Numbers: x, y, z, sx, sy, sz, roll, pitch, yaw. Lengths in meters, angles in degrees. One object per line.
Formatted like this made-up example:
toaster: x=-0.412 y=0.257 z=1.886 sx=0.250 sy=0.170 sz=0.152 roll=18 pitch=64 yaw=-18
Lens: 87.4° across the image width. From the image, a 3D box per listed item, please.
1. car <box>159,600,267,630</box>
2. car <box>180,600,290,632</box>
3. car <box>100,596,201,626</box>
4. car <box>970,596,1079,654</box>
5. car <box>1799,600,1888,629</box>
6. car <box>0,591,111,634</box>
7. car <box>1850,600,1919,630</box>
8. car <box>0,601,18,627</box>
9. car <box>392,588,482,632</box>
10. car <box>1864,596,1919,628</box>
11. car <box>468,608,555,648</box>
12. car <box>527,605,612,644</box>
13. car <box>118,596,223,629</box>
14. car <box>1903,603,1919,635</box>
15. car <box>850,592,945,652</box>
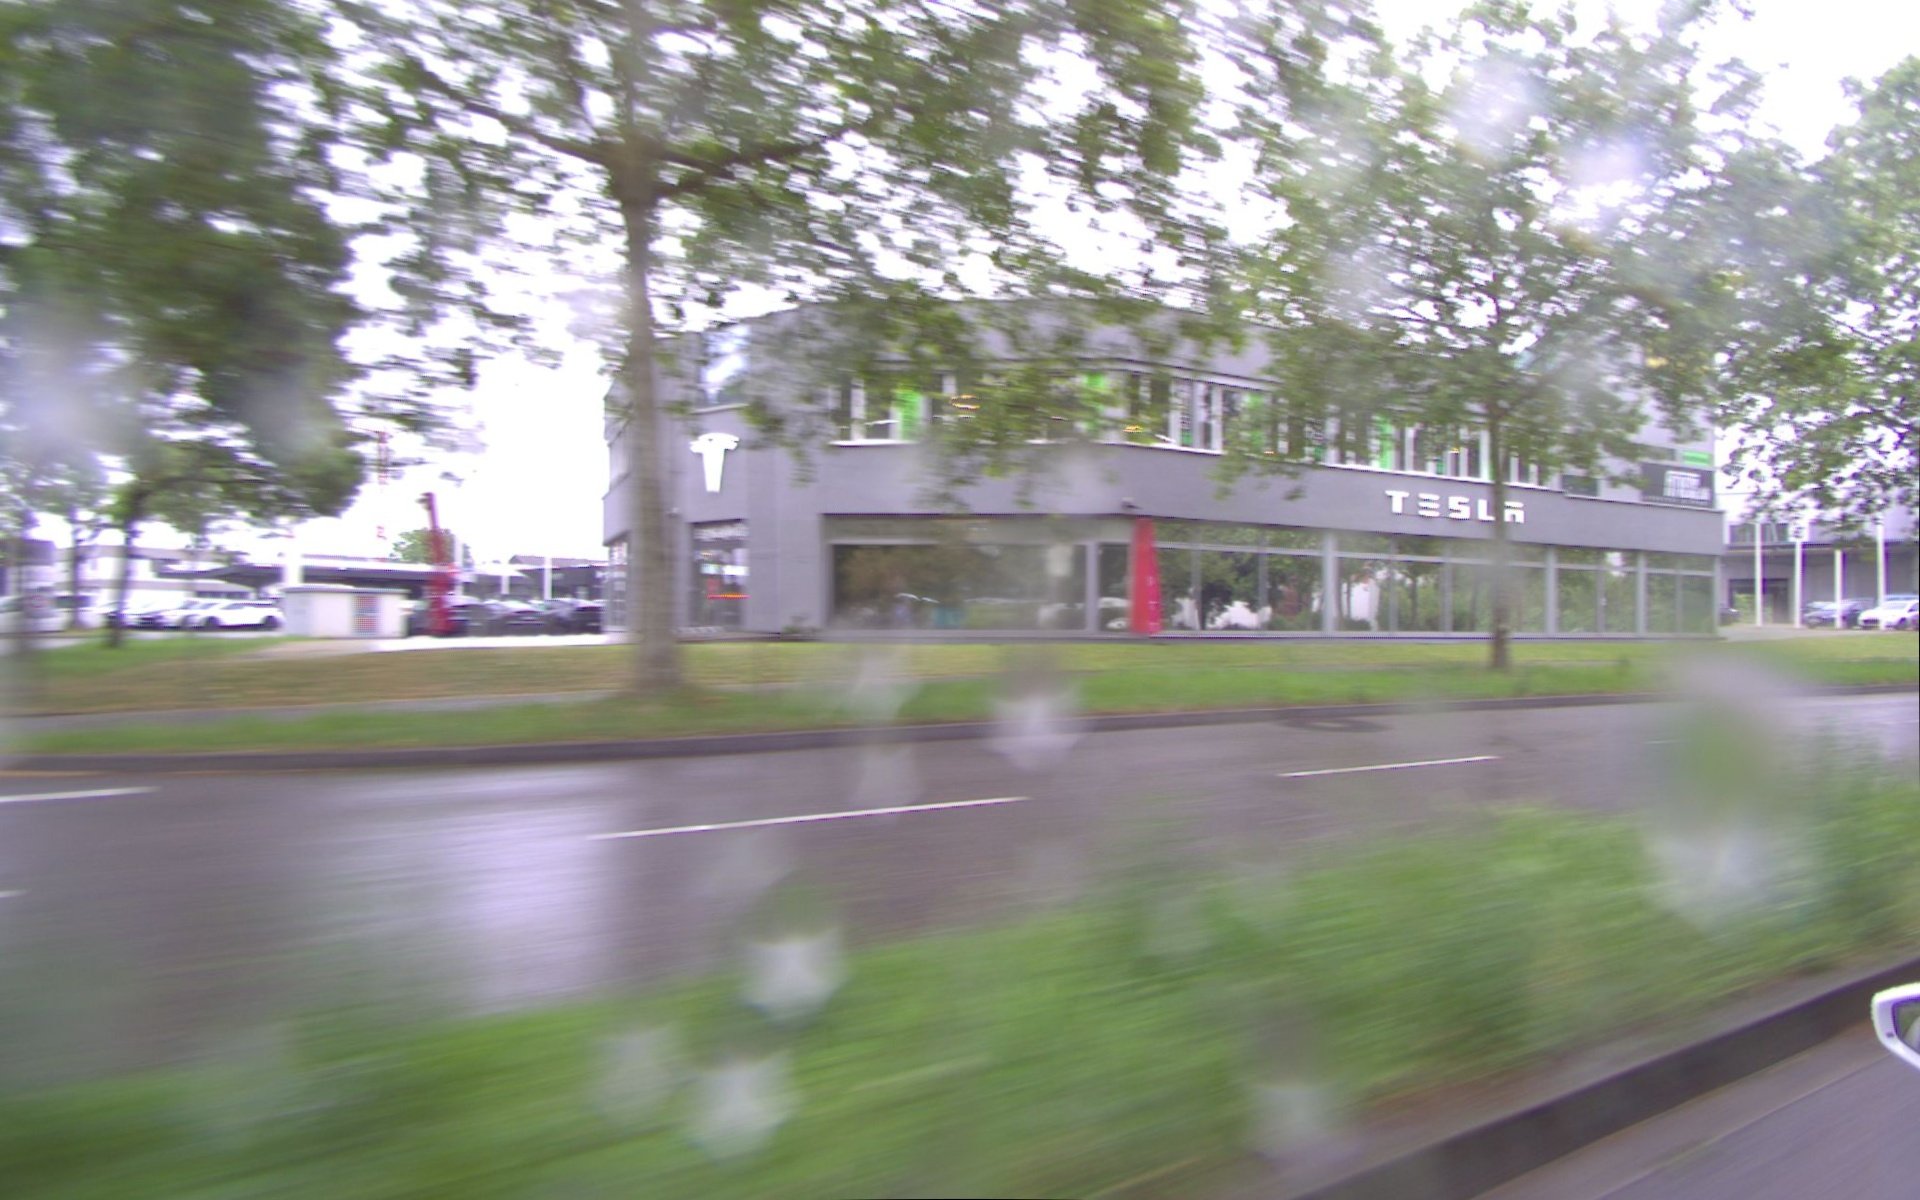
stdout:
car: x=-38.499 y=0.782 z=51.840 sx=1.571 sy=1.514 sz=4.192 roll=0 pitch=-1 yaw=34
car: x=-36.390 y=0.827 z=50.526 sx=1.571 sy=1.514 sz=4.192 roll=0 pitch=-1 yaw=34
car: x=-46.231 y=0.658 z=57.446 sx=1.571 sy=1.678 sz=4.192 roll=0 pitch=-1 yaw=34
car: x=1.724 y=0.677 z=28.171 sx=1.573 sy=1.514 sz=4.187 roll=1 pitch=-1 yaw=-19
car: x=46.686 y=0.744 z=53.078 sx=4.092 sy=1.415 sz=1.761 roll=-1 pitch=1 yaw=-19
car: x=-42.076 y=0.570 z=45.502 sx=1.764 sy=1.889 sz=5.214 roll=0 pitch=-1 yaw=35
car: x=47.402 y=0.729 z=50.833 sx=4.092 sy=1.415 sz=1.761 roll=-1 pitch=1 yaw=-19
car: x=-52.438 y=0.735 z=52.707 sx=1.572 sy=1.376 sz=4.190 roll=0 pitch=-1 yaw=36
car: x=-19.342 y=0.361 z=37.070 sx=4.144 sy=1.514 sz=1.590 roll=0 pitch=-1 yaw=42
car: x=54.773 y=0.706 z=57.175 sx=4.567 sy=1.788 sz=1.818 roll=1 pitch=1 yaw=27
car: x=-17.907 y=1.085 z=40.030 sx=4.144 sy=1.514 sz=1.590 roll=0 pitch=-1 yaw=42
car: x=-16.370 y=1.009 z=42.023 sx=4.144 sy=1.514 sz=1.590 roll=0 pitch=-1 yaw=42
car: x=-42.627 y=0.682 z=54.335 sx=1.571 sy=1.678 sz=4.192 roll=0 pitch=-1 yaw=34
car: x=47.395 y=0.865 z=47.969 sx=4.092 sy=1.487 sz=1.761 roll=-1 pitch=1 yaw=-19
car: x=-1.811 y=0.591 z=27.791 sx=1.573 sy=1.514 sz=4.187 roll=1 pitch=-1 yaw=-19
